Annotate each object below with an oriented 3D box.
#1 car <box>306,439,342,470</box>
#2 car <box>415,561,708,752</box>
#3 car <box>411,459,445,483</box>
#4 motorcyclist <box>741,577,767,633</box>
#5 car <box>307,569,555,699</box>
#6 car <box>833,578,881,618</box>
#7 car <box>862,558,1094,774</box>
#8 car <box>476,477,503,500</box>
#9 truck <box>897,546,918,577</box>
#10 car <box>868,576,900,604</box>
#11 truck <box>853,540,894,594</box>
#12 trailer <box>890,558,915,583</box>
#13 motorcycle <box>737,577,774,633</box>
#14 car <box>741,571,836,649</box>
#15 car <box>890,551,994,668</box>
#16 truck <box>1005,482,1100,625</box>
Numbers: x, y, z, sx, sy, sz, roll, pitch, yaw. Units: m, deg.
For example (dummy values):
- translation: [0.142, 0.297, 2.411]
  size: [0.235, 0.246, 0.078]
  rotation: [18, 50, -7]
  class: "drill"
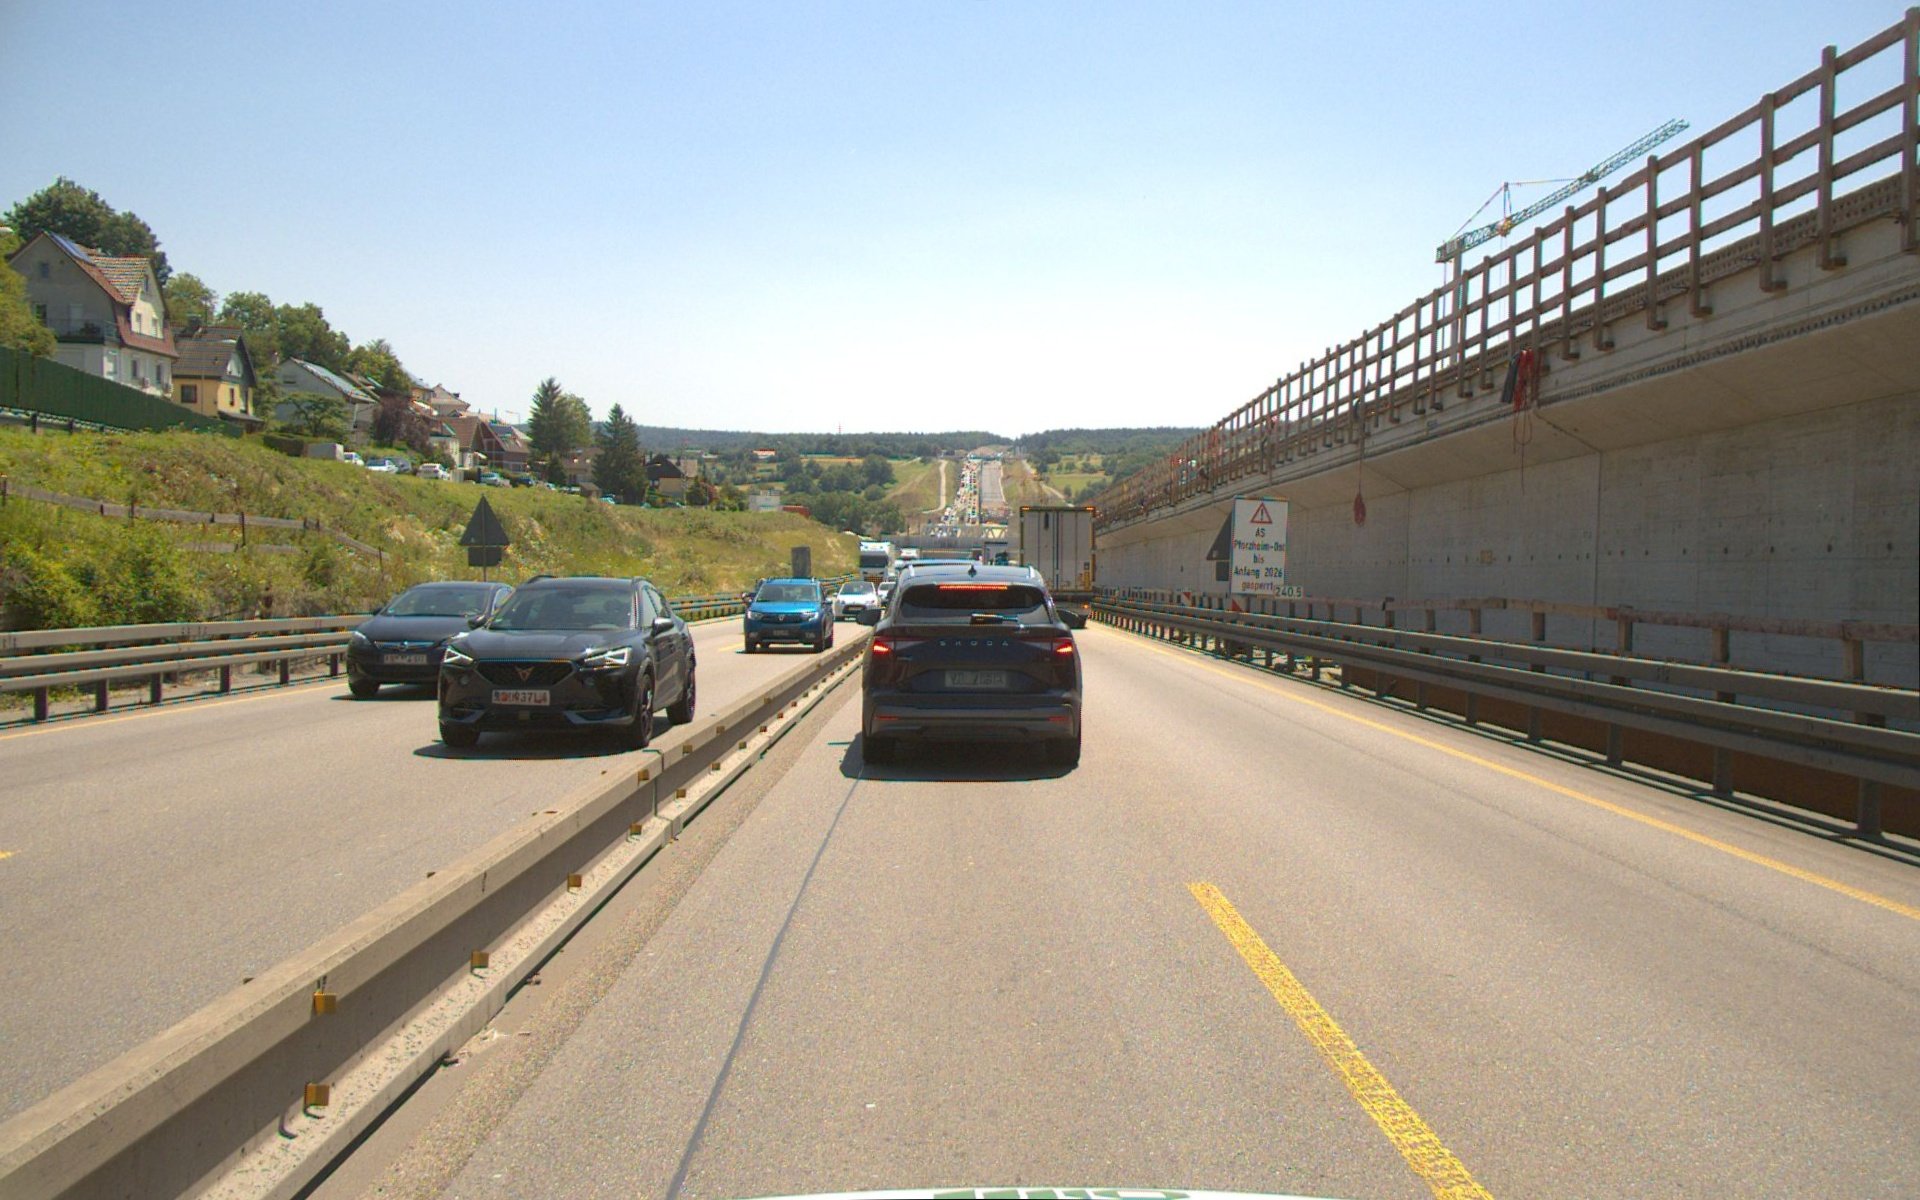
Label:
- translation: [-36.454, -8.326, 94.898]
  size: [1.701, 1.422, 3.782]
  rotation: [2, 0, -18]
  class: "car"
- translation: [-3.628, 0.475, 15.848]
  size: [1.805, 1.557, 4.293]
  rotation: [1, 0, -1]
  class: "car"
- translation: [-40.606, -9.840, 126.353]
  size: [1.958, 1.342, 3.989]
  rotation: [4, 0, -11]
  class: "car"
- translation: [-6.053, 0.151, 48.647]
  size: [0.652, 1.613, 0.736]
  rotation: [0, 0, -1]
  class: "motorcyclist"
- translation: [-6.880, 0.413, 22.117]
  size: [1.777, 1.473, 5.005]
  rotation: [2, 0, -2]
  class: "car"
- translation: [-3.985, -0.085, 64.658]
  size: [1.730, 1.512, 3.864]
  rotation: [0, 1, -2]
  class: "car"
- translation: [0.093, 0.489, 14.381]
  size: [1.746, 1.625, 3.754]
  rotation: [0, 0, -1]
  class: "car"
- translation: [-41.484, -9.794, 145.928]
  size: [1.890, 1.758, 3.990]
  rotation: [0, 1, -10]
  class: "car"
- translation: [-7.527, -5.492, 237.556]
  size: [2.696, 4.301, 8.099]
  rotation: [0, 0, 0]
  class: "truck"
- translation: [-4.093, -0.562, 89.898]
  size: [1.657, 1.512, 3.748]
  rotation: [0, 1, -2]
  class: "car"
- translation: [-7.270, -2.712, 137.742]
  size: [3.119, 4.312, 6.477]
  rotation: [1, 0, -6]
  class: "truck"
- translation: [-6.435, -3.251, 185.739]
  size: [2.433, 2.659, 5.867]
  rotation: [-1, 0, 1]
  class: "trailer"
- translation: [-6.018, 0.119, 48.801]
  size: [0.774, 1.578, 2.621]
  rotation: [1, 1, 0]
  class: "motorcycle"
- translation: [-3.737, 0.189, 36.608]
  size: [1.728, 1.638, 3.892]
  rotation: [0, 1, -1]
  class: "car"
- translation: [-0.384, 0.154, 30.438]
  size: [1.714, 1.928, 3.753]
  rotation: [3, 0, -3]
  class: "car"
- translation: [3.251, -1.532, 60.862]
  size: [2.787, 4.696, 11.810]
  rotation: [1, 0, 0]
  class: "truck"
